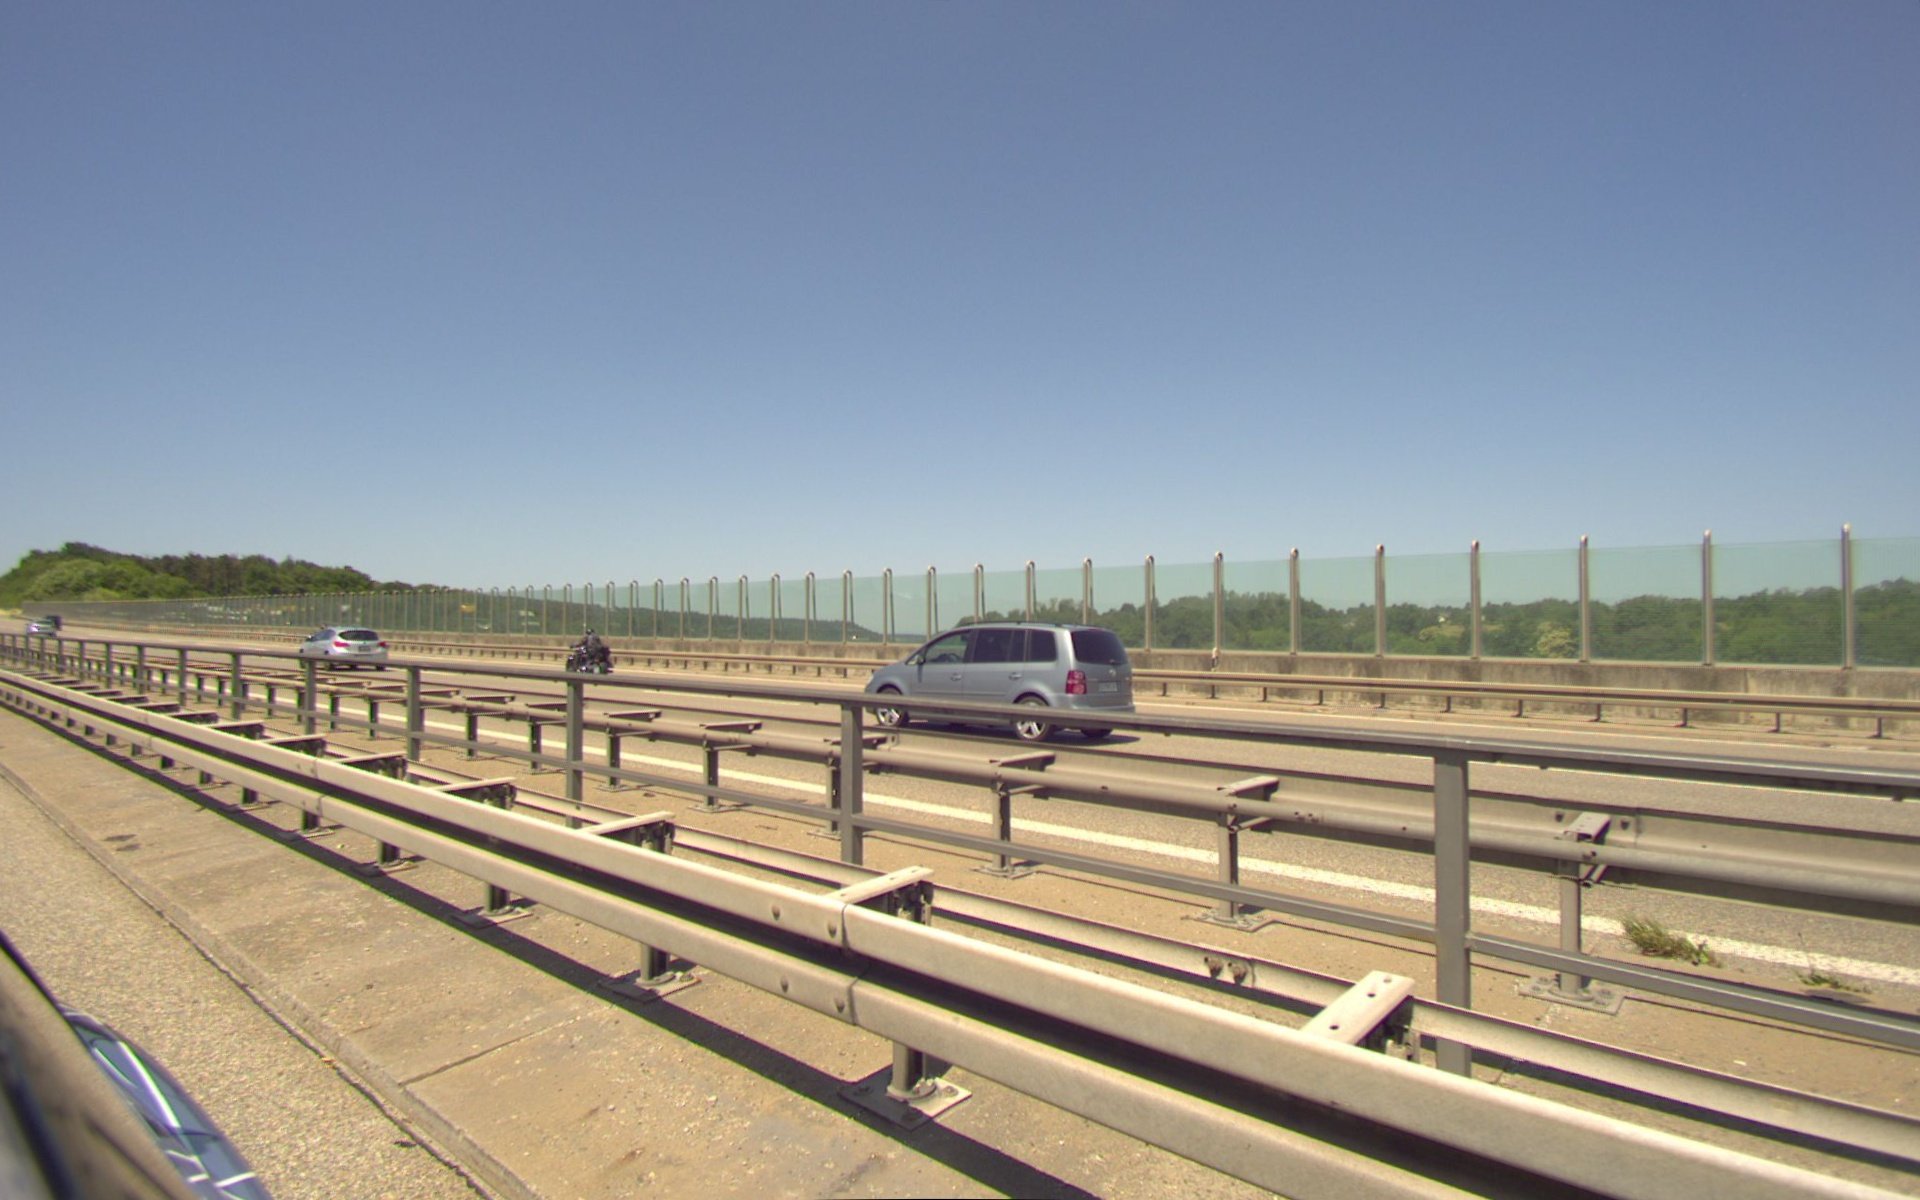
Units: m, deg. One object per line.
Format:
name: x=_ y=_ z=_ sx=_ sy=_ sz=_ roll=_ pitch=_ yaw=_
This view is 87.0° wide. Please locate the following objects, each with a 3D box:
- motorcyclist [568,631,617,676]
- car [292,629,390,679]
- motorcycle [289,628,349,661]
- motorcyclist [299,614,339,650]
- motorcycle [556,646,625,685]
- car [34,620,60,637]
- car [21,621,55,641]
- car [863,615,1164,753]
motorcyclist: x=-11.147 y=1.616 z=30.689 sx=1.286 sy=1.293 sz=0.909 roll=-1 pitch=0 yaw=41
car: x=-21.206 y=1.792 z=34.604 sx=4.123 sy=1.501 sz=1.713 roll=-1 pitch=0 yaw=41
motorcycle: x=-31.234 y=2.141 z=49.265 sx=3.379 sy=1.488 sz=1.472 roll=-1 pitch=0 yaw=39
motorcyclist: x=-31.171 y=1.538 z=49.216 sx=1.132 sy=1.698 sz=1.362 roll=-1 pitch=0 yaw=40
motorcycle: x=-11.258 y=1.975 z=30.765 sx=2.649 sy=1.079 sz=0.782 roll=-1 pitch=-2 yaw=41
car: x=-107.077 y=3.350 z=118.676 sx=3.998 sy=1.849 sz=1.797 roll=-1 pitch=0 yaw=41
car: x=-81.132 y=2.730 z=89.052 sx=3.998 sy=1.667 sz=1.797 roll=-1 pitch=0 yaw=41
car: x=0.673 y=1.102 z=14.660 sx=4.153 sy=1.715 sz=1.763 roll=-1 pitch=-3 yaw=41
